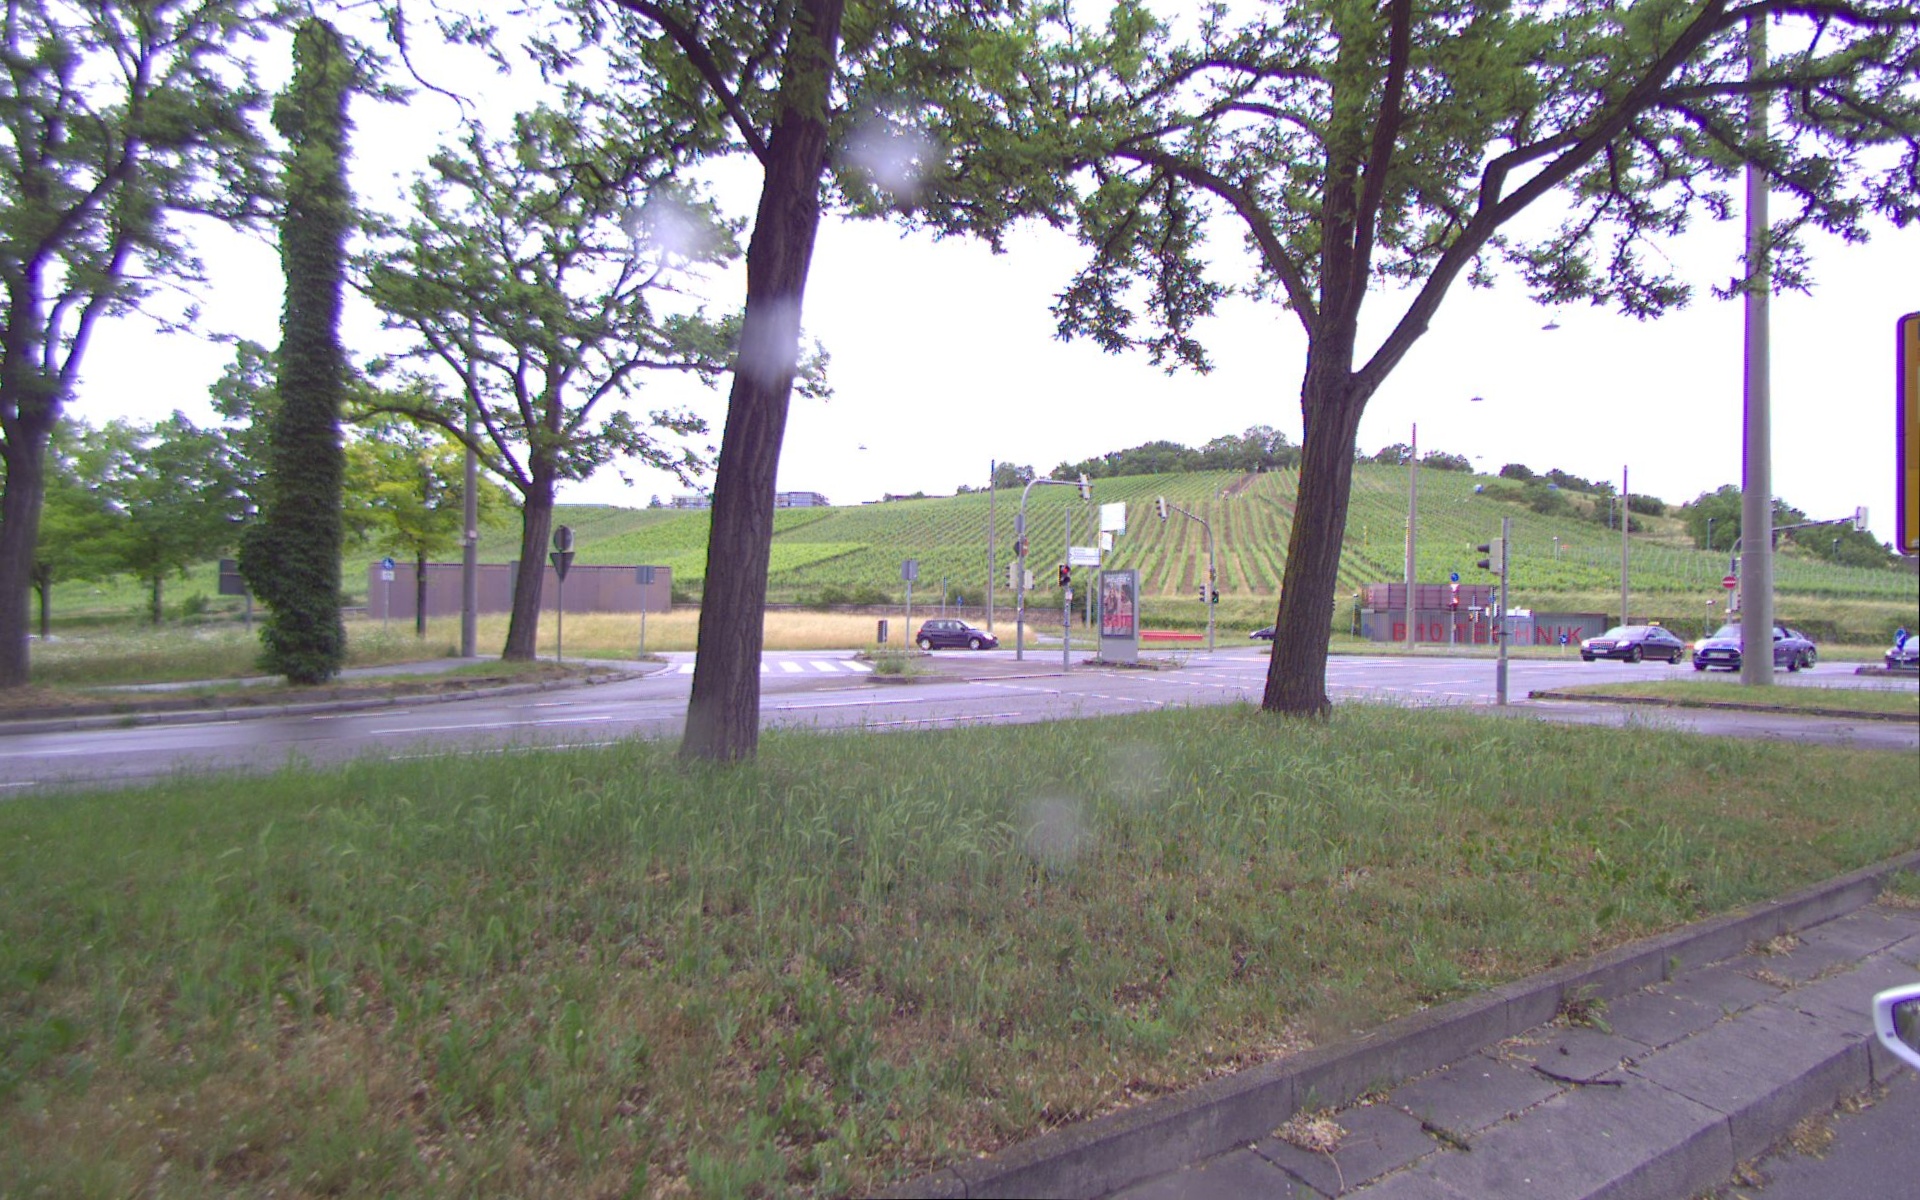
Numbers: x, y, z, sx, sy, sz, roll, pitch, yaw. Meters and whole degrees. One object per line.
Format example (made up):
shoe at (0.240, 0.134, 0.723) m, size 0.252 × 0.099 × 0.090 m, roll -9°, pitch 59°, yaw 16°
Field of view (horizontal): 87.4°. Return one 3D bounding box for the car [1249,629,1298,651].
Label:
car at (25.793, 3.293, 82.665) m, size 3.694 × 1.538 × 1.861 m, roll 2°, pitch 1°, yaw 20°

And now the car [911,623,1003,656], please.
car at (-0.132, 1.847, 47.301) m, size 3.920 × 1.307 × 1.800 m, roll 2°, pitch 1°, yaw 17°

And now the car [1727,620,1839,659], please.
car at (30.927, 1.454, 37.720) m, size 4.614 × 1.381 × 1.815 m, roll 1°, pitch -1°, yaw -31°

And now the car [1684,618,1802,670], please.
car at (23.665, 1.344, 30.312) m, size 3.844 × 1.414 × 1.774 m, roll 3°, pitch 0°, yaw -36°

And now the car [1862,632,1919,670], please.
car at (40.950, 2.154, 42.944) m, size 4.602 × 1.492 × 1.820 m, roll 1°, pitch -1°, yaw -24°

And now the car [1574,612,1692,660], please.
car at (25.558, 1.381, 38.103) m, size 4.511 × 1.645 × 1.821 m, roll 2°, pitch 1°, yaw -29°

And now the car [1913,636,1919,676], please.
car at (38.871, 2.231, 38.247) m, size 4.821 × 1.509 × 1.897 m, roll 2°, pitch 0°, yaw -22°
